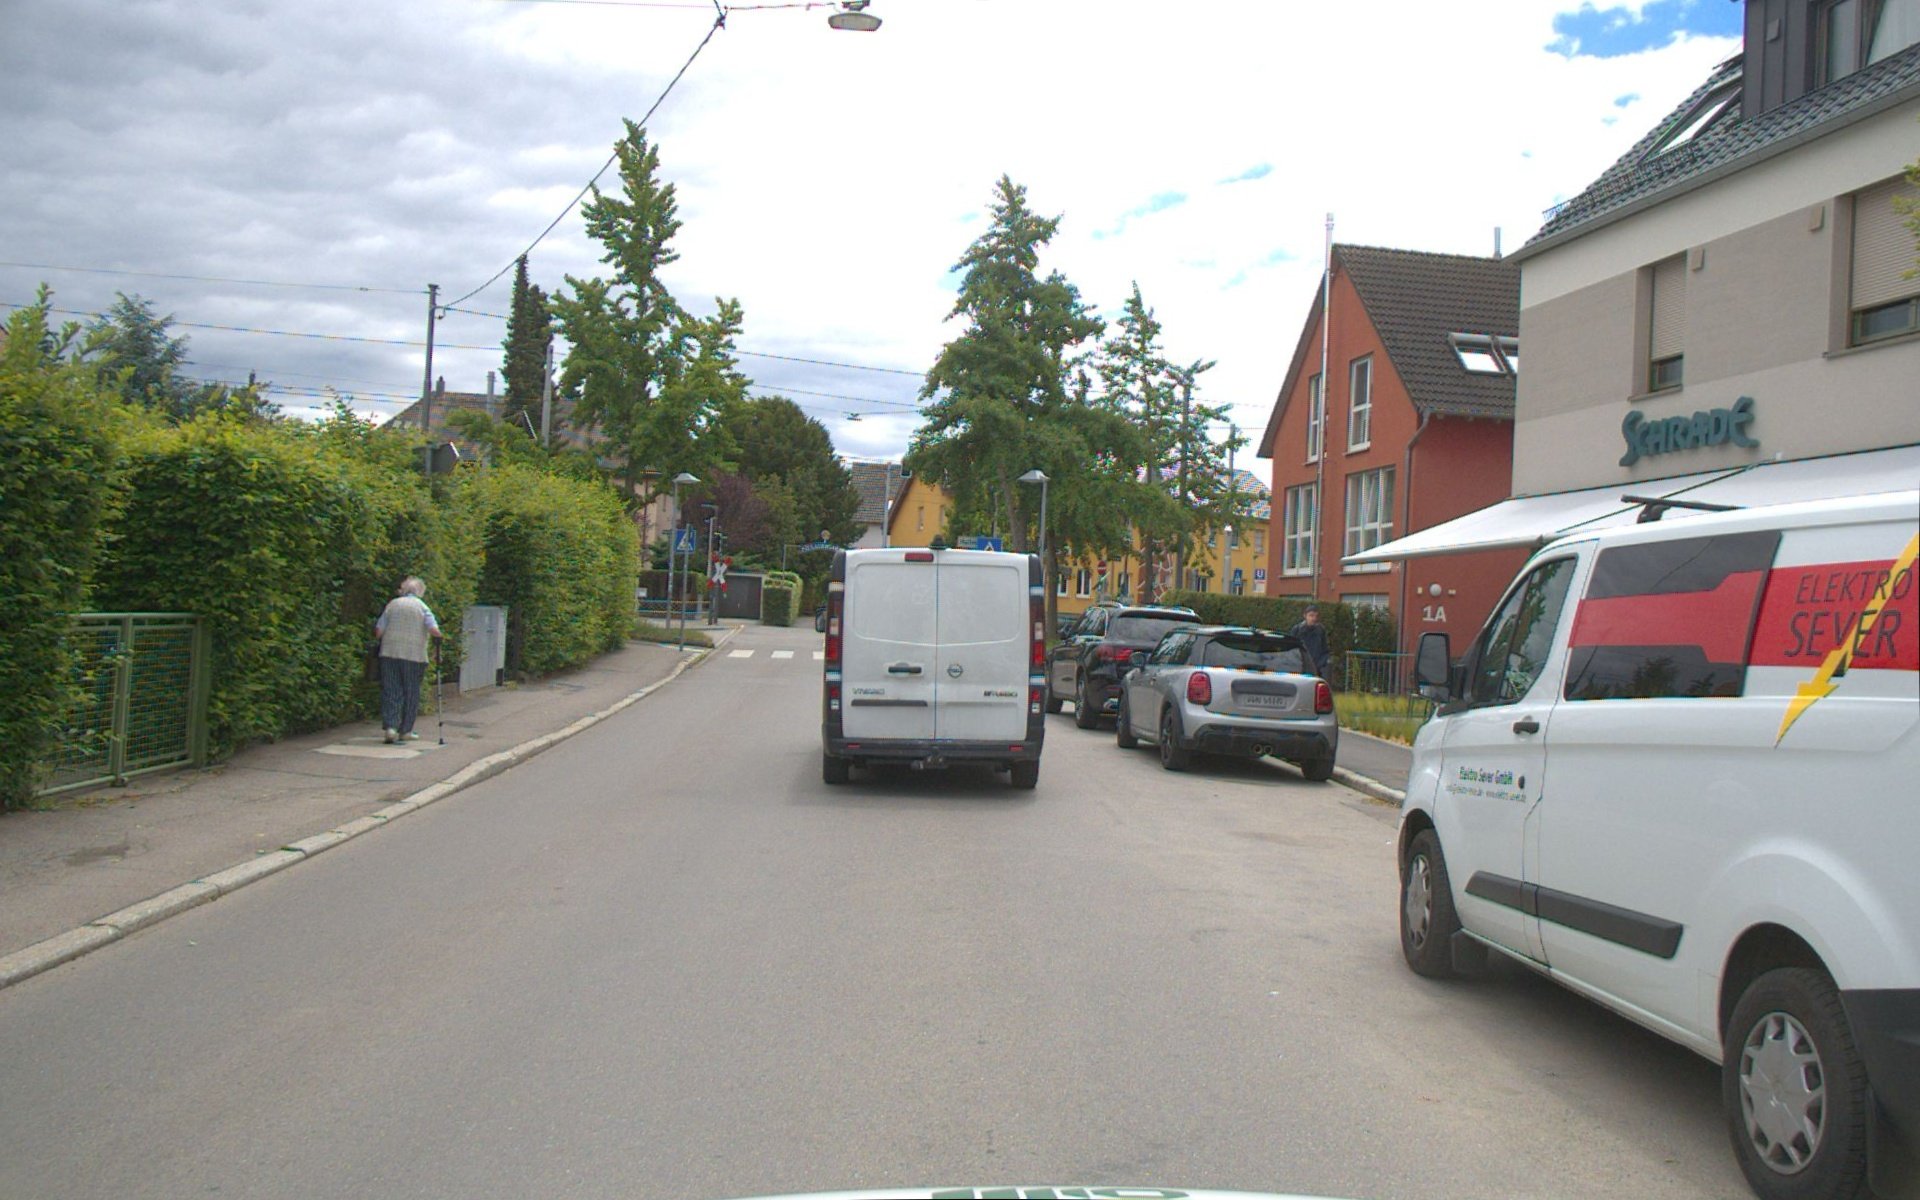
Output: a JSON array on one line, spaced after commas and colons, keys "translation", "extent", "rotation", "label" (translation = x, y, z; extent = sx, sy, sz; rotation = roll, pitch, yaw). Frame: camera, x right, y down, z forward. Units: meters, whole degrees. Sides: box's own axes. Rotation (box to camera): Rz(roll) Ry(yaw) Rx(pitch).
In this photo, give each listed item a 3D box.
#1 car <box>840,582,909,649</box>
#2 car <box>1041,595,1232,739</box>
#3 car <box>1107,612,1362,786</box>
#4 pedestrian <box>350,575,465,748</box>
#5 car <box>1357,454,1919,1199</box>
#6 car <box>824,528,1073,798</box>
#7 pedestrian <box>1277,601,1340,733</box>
[{"translation": [-2.592, 0.481, 50.316], "extent": [1.954, 1.880, 3.997], "rotation": [2, -1, -3], "label": "car"}, {"translation": [2.292, 0.837, 22.547], "extent": [1.670, 1.642, 4.253], "rotation": [5, -1, -5], "label": "car"}, {"translation": [2.789, 0.972, 17.624], "extent": [1.708, 1.520, 3.651], "rotation": [5, -1, -5], "label": "car"}, {"translation": [-5.097, 0.563, 15.255], "extent": [0.864, 1.511, 0.452], "rotation": [5, -2, -23], "label": "pedestrian"}, {"translation": [3.146, 0.718, 5.851], "extent": [1.920, 1.949, 4.897], "rotation": [5, -1, -4], "label": "car"}, {"translation": [-0.231, 0.498, 15.098], "extent": [1.878, 2.037, 4.434], "rotation": [2, 0, -4], "label": "car"}, {"translation": [4.479, 0.853, 21.256], "extent": [0.579, 1.634, 0.529], "rotation": [5, -1, -1], "label": "pedestrian"}]
